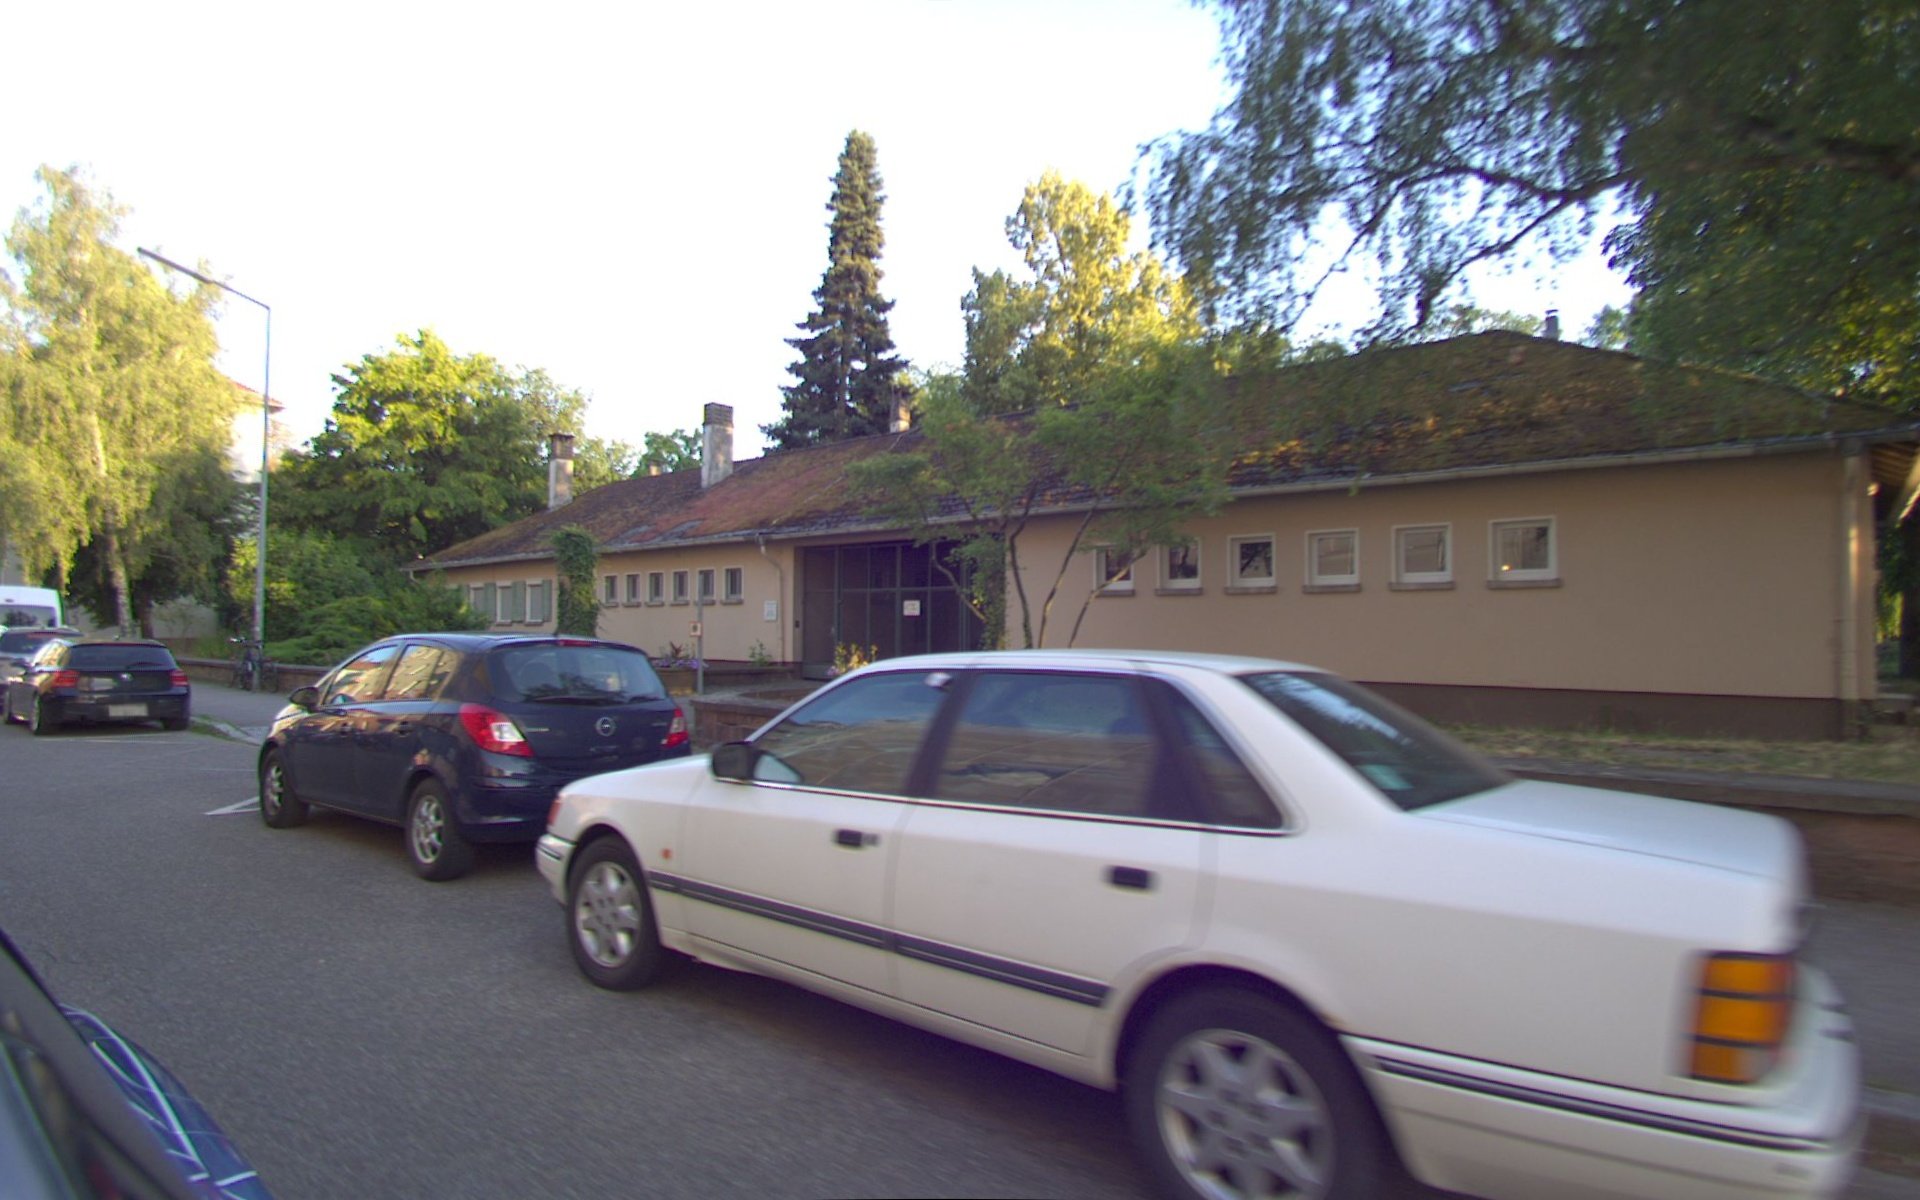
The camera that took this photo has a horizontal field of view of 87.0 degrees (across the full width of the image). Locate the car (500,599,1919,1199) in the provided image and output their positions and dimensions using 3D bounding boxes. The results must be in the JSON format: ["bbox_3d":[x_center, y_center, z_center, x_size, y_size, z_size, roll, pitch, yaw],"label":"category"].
[{"bbox_3d":[0.347,0.832,3.703,4.744,1.457,1.764,-1,-5,40],"label":"car"}]

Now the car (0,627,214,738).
[{"bbox_3d":[-13.237,1.157,15.532,4.285,1.464,1.973,-2,-2,41],"label":"car"}]

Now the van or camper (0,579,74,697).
[{"bbox_3d":[-22.312,0.872,23.270,6.078,2.476,1.973,-2,-3,40],"label":"van or camper"}]

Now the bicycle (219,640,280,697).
[{"bbox_3d":[-14.759,1.393,21.009,1.953,1.126,0.538,-2,-2,39],"label":"bicycle"}]

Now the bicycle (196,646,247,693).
[{"bbox_3d":[-16.441,1.533,22.512,1.955,0.972,0.537,-2,-2,42],"label":"bicycle"}]

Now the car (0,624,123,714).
[{"bbox_3d":[-17.753,1.244,19.320,4.786,1.530,1.973,-2,-2,41],"label":"car"}]

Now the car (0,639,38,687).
[{"bbox_3d":[-26.160,1.647,26.632,4.027,1.198,1.976,-1,-2,35],"label":"car"}]

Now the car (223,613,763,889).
[{"bbox_3d":[-3.529,0.864,7.409,3.994,1.464,1.975,-2,-2,38],"label":"car"}]
